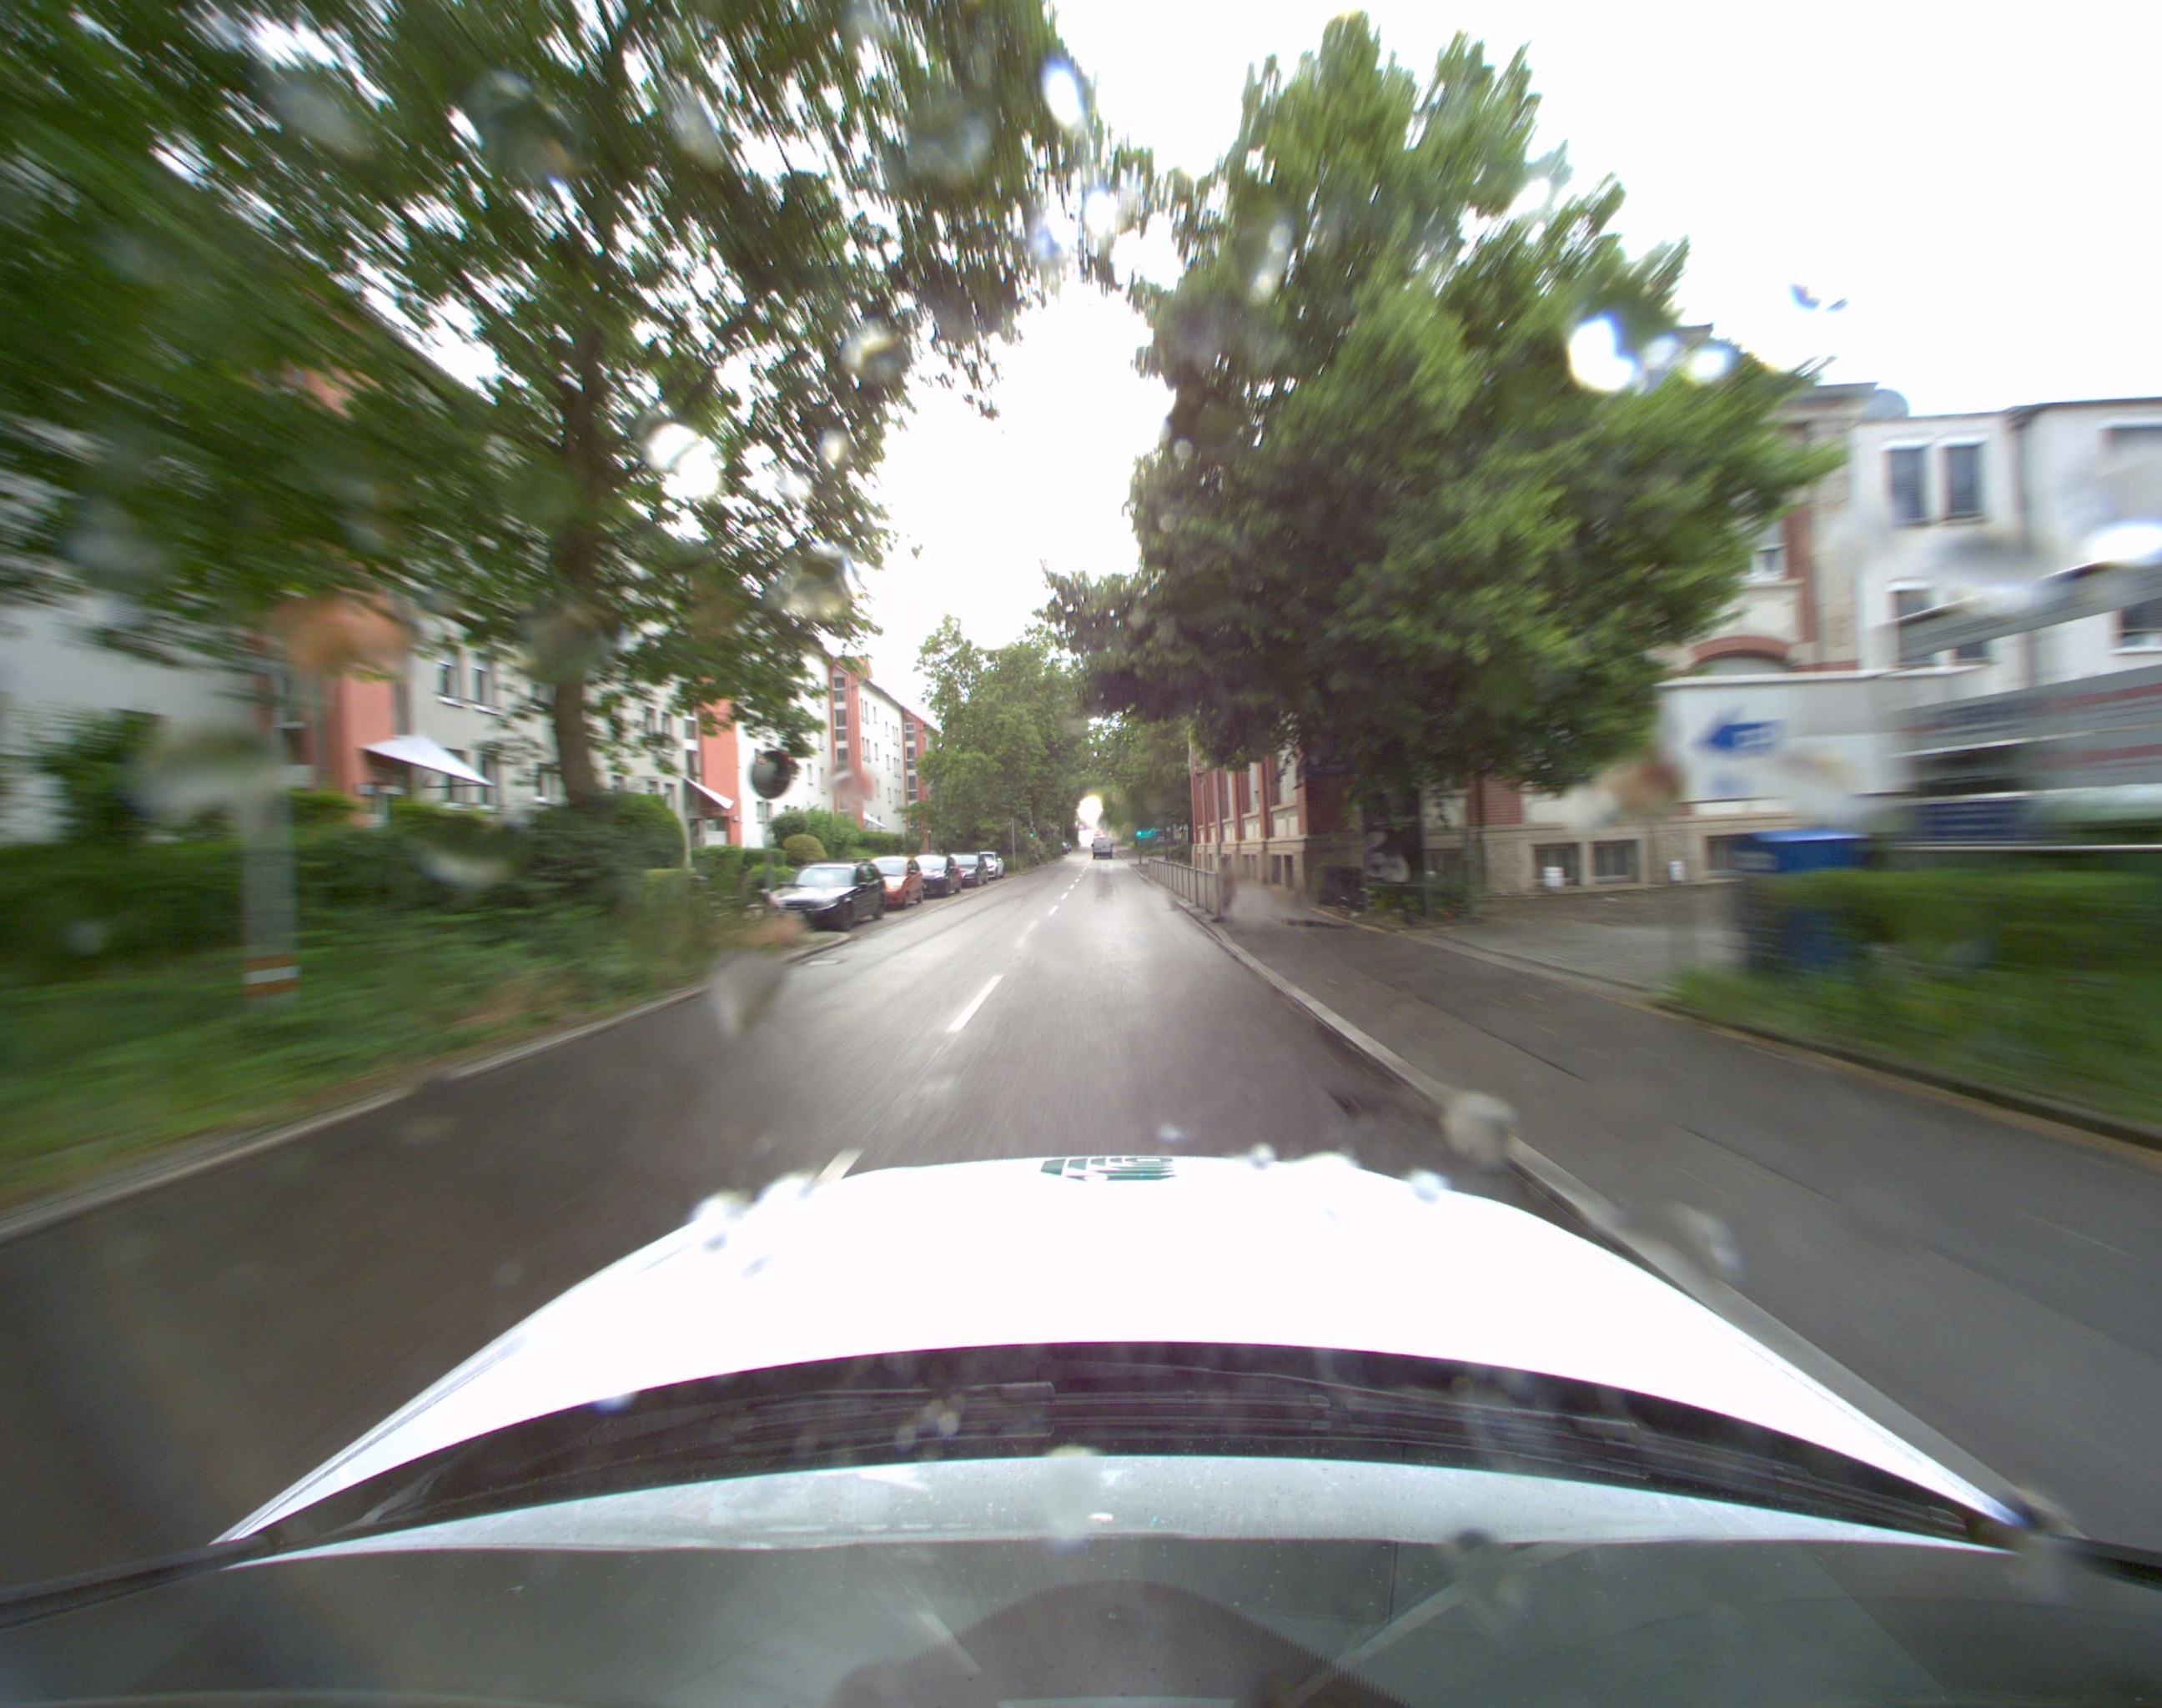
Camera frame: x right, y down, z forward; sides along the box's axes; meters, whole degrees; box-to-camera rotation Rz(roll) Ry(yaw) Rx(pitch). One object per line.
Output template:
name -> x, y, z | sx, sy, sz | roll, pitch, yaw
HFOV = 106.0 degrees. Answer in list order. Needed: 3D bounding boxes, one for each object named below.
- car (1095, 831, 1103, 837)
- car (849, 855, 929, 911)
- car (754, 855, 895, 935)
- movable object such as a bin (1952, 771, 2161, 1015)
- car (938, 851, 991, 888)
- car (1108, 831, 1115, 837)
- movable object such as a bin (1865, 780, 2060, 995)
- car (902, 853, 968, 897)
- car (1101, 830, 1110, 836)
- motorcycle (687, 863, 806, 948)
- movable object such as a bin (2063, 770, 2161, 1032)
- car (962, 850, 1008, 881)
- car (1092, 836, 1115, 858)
car -> 5.587, -6.113, 252.338 | 2.149, 1.709, 3.879 | -1, 0, 5
car -> -5.688, 0.807, 24.458 | 1.550, 1.467, 3.397 | -2, 1, 0
car -> -5.719, 0.820, 18.815 | 1.711, 1.509, 4.803 | -2, 1, 0
movable object such as a bin -> 6.581, 0.244, 5.470 | 0.735, 1.508, 0.625 | -3, 0, -2
car -> -5.070, 0.621, 35.938 | 1.711, 1.467, 4.232 | -2, 1, 0
car -> 9.380, -6.145, 252.308 | 1.921, 1.709, 3.879 | -1, 0, 5
movable object such as a bin -> 6.610, 0.236, 6.137 | 0.735, 1.501, 0.625 | -3, 0, -2
car -> -5.280, 0.718, 29.923 | 1.711, 1.467, 3.756 | -2, 1, 0
car -> 7.355, -6.168, 244.181 | 2.138, 1.709, 3.879 | -1, 0, 5
motorcycle -> -5.852, 0.886, 14.321 | 1.706, 1.340, 0.722 | -3, 0, 1
movable object such as a bin -> 6.569, 0.254, 4.806 | 0.735, 1.508, 0.625 | -3, 0, -2
car -> -4.988, 0.551, 42.900 | 1.710, 1.467, 4.312 | -2, 1, 2
car -> 2.413, -0.741, 86.009 | 2.327, 2.231, 4.002 | 0, 0, 2
